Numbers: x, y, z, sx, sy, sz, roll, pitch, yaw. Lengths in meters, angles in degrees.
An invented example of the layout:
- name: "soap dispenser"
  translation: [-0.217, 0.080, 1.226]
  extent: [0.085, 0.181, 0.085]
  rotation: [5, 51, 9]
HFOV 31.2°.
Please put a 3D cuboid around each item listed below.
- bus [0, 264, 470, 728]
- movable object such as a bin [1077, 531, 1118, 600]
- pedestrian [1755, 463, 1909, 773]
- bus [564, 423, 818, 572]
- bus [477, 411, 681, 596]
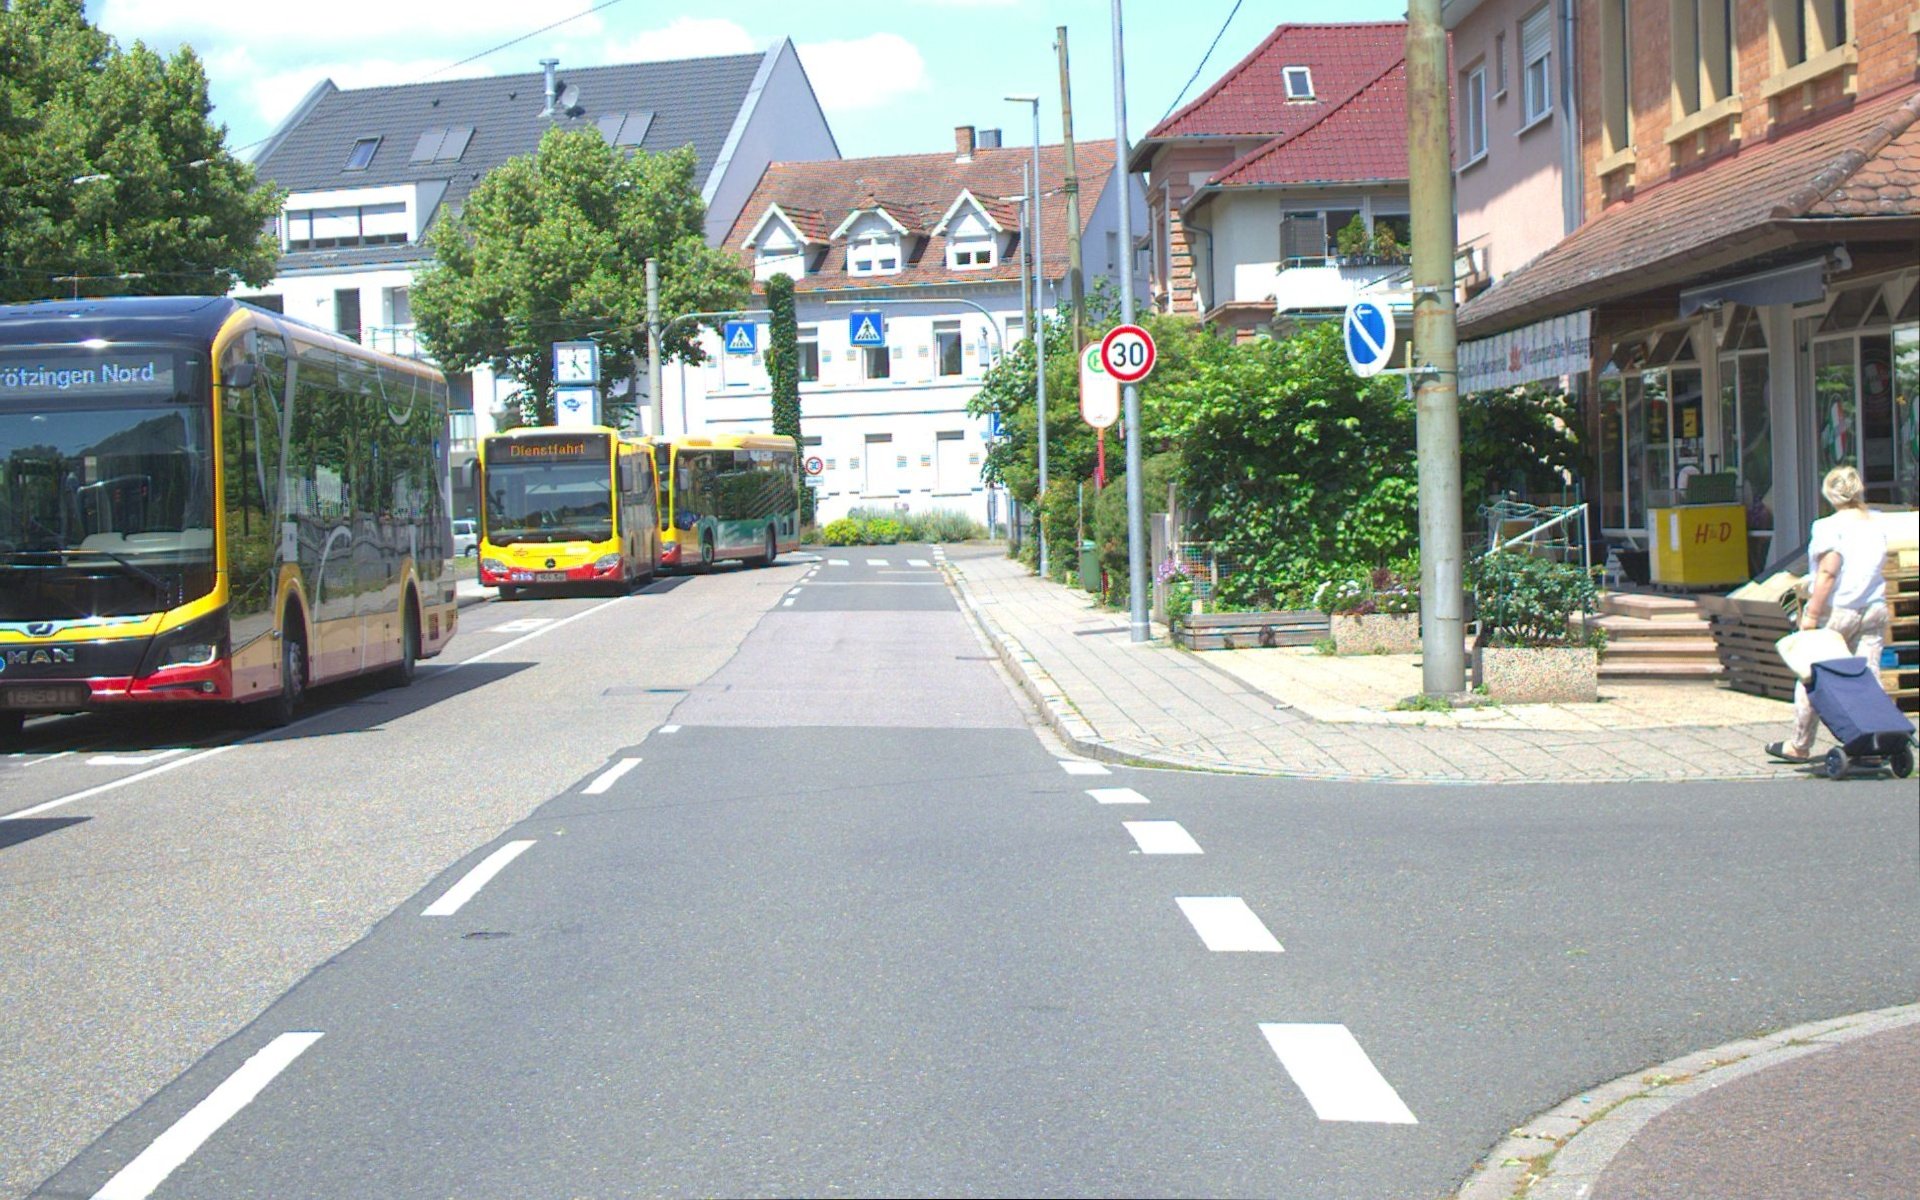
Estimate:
- name: "bus"
  translation: [-6.547, -0.763, 30.149]
  extent: [2.898, 3.236, 12.197]
  rotation: [0, 0, -1]
- name: "movable object such as a bin"
  translation: [1.893, -0.473, 47.309]
  extent: [0.406, 0.904, 0.729]
  rotation: [-5, 1, -4]
- name: "pedestrian"
  translation: [4.777, 0.089, 18.821]
  extent: [0.705, 1.635, 0.659]
  rotation: [-2, 3, 20]
- name: "bus"
  translation: [-6.038, -2.460, 79.851]
  extent: [2.781, 3.197, 12.302]
  rotation: [0, 2, 10]
- name: "bus"
  translation: [-7.177, -1.825, 66.330]
  extent: [2.907, 3.236, 12.120]
  rotation: [0, 1, -2]
